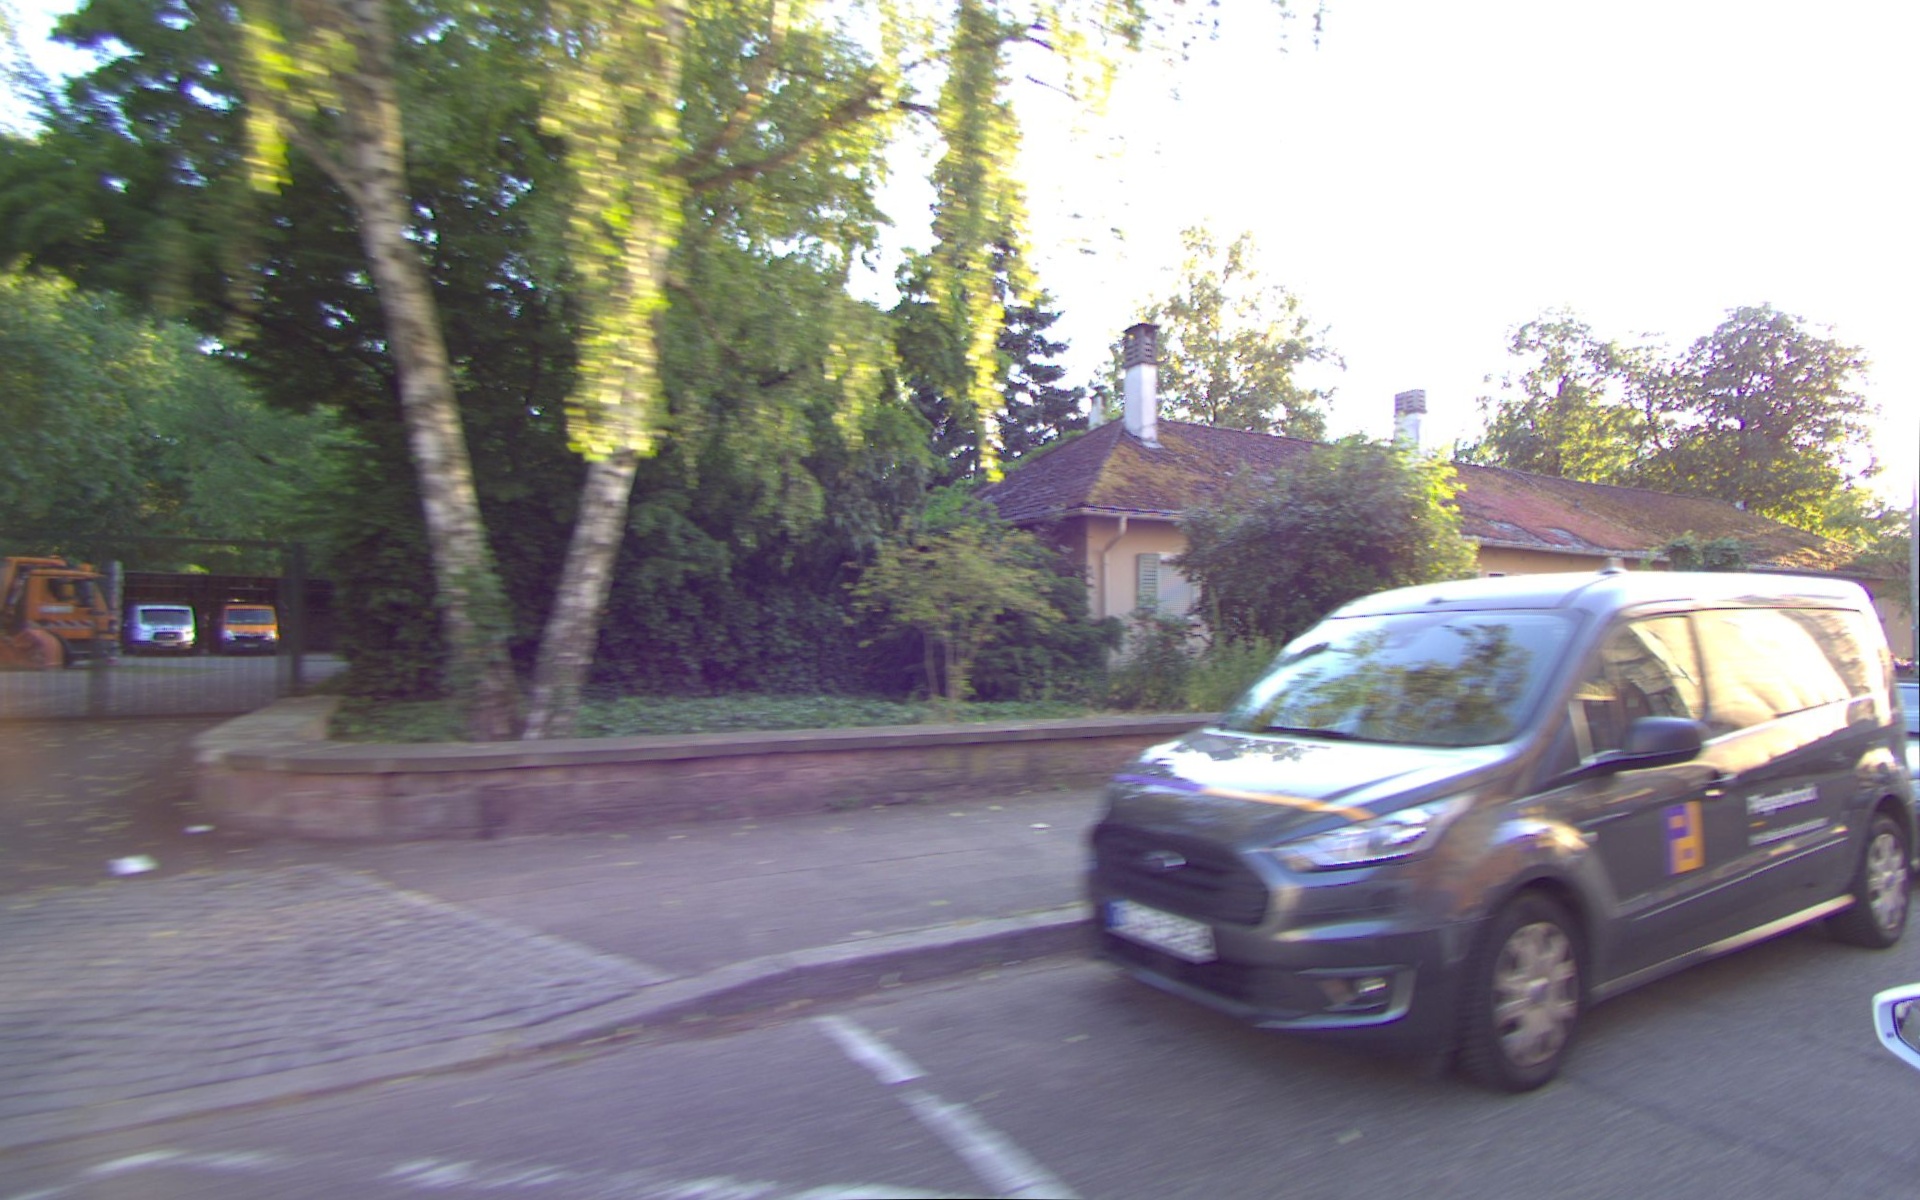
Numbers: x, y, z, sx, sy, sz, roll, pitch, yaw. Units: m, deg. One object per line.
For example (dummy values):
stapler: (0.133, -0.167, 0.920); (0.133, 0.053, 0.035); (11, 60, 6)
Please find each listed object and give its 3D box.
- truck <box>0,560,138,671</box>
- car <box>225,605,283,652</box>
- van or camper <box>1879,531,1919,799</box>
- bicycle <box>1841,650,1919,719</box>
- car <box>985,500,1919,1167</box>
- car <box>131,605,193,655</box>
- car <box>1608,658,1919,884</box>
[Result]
truck: (-24.578, 0.370, 25.584); (5.458, 2.741, 2.225); (2, 0, -37)
car: (-31.988, 1.282, 45.480); (1.982, 2.040, 3.957); (1, -1, -38)
van or camper: (11.882, 0.646, 10.215); (6.010, 2.489, 1.985); (1, -2, -30)
bicycle: (14.356, 1.278, 15.463); (1.930, 0.977, 0.541); (1, -1, -28)
car: (2.683, 0.715, 4.833); (4.892, 1.811, 1.901); (1, -3, -31)
car: (-34.242, 1.286, 43.193); (1.982, 2.040, 3.957); (1, -1, -38)
car: (6.809, 1.086, 7.480); (3.995, 1.205, 1.981); (2, -2, -35)
